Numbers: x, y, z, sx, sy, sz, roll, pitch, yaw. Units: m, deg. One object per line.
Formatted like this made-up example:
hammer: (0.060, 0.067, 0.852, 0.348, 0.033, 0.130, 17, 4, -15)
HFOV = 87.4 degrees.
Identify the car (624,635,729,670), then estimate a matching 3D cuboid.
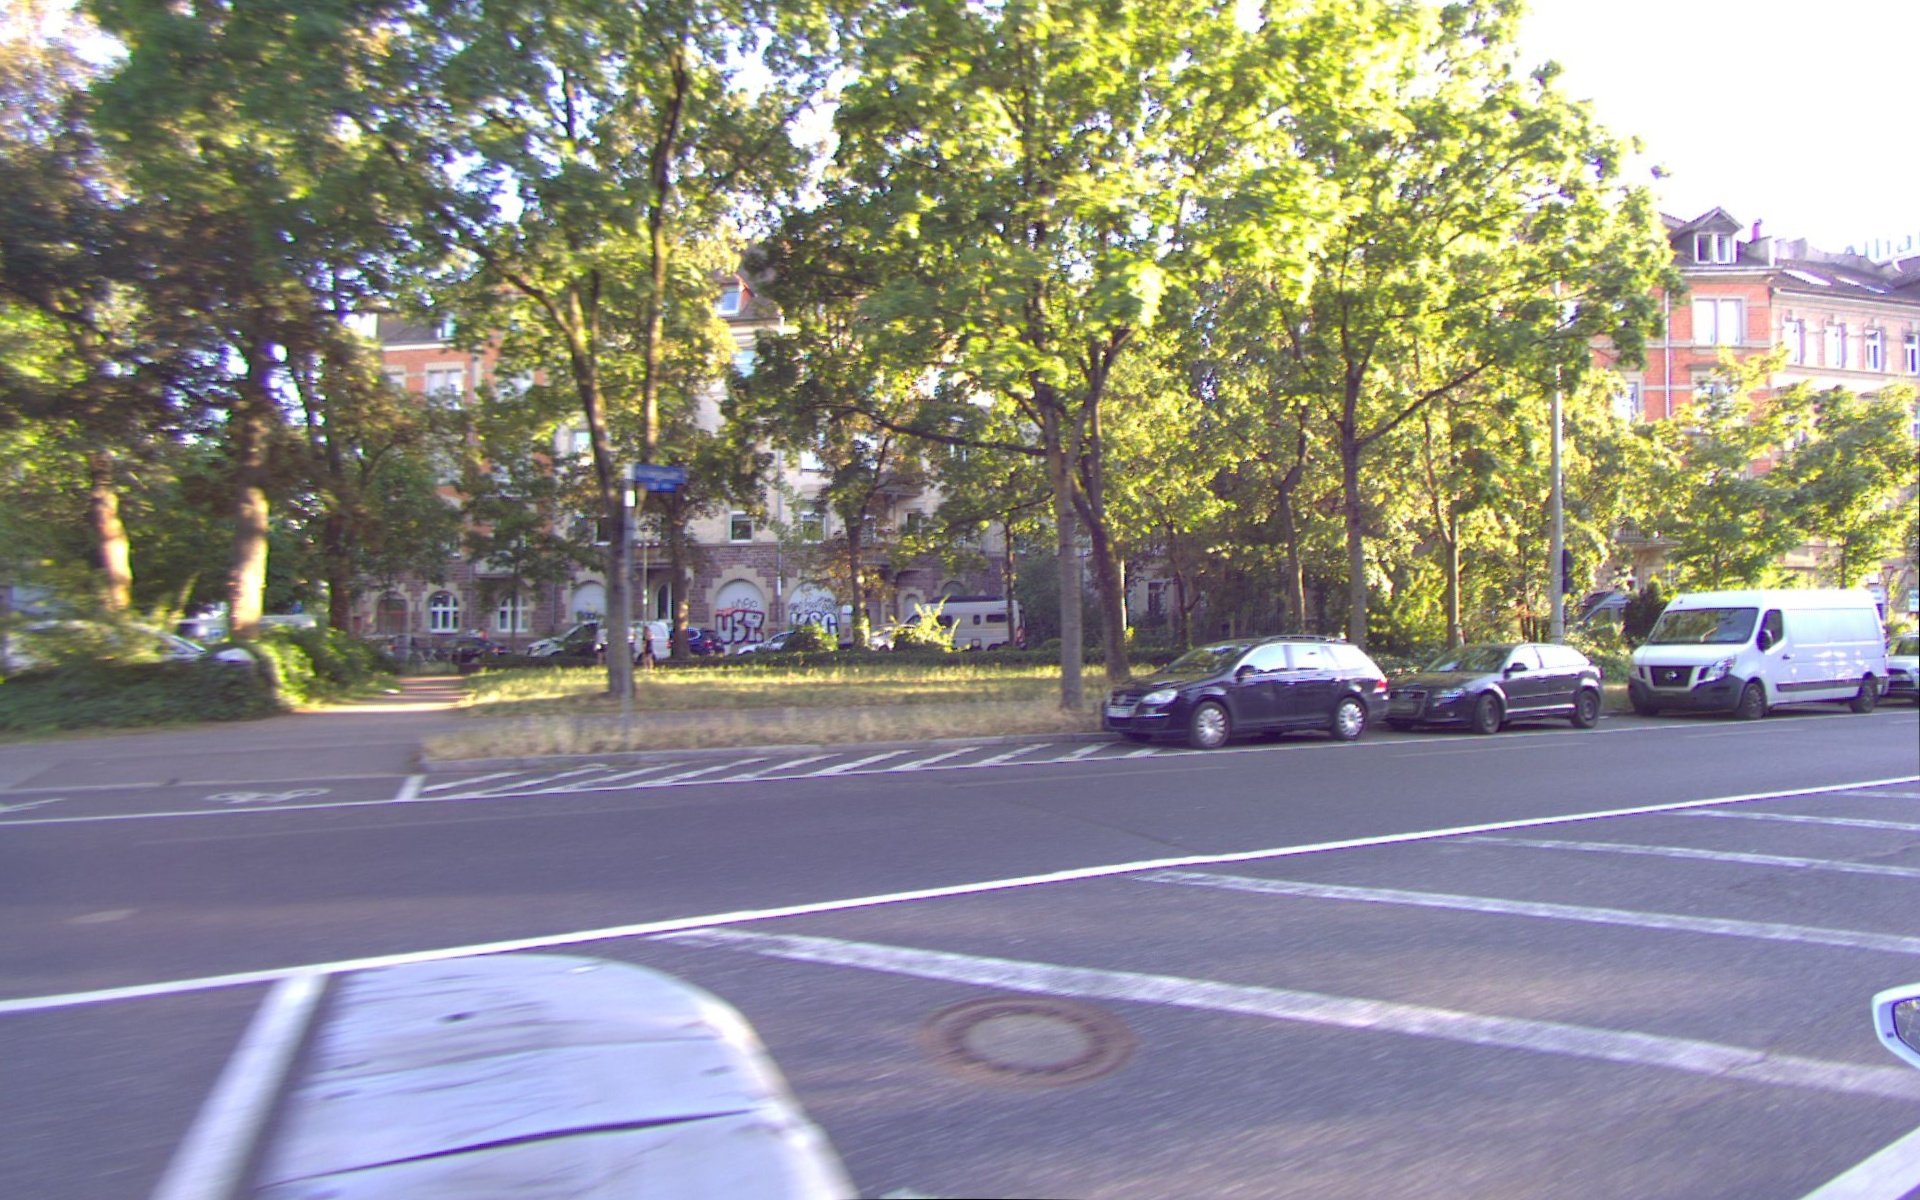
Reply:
car: (-12.138, 2.224, 43.136, 3.919, 1.416, 1.896, 0, -1, 8)

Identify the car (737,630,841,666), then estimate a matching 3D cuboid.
car: (-7.182, 2.004, 42.372, 3.919, 1.416, 1.896, 0, -1, 8)

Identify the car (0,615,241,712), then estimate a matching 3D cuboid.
car: (-18.415, 1.334, 22.161, 3.954, 1.907, 1.984, 1, 0, -31)

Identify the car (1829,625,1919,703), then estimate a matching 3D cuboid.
car: (22.335, 1.448, 23.191, 4.512, 1.666, 1.859, 1, -2, -27)

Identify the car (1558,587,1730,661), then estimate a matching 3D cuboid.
car: (26.496, 0.943, 39.059, 5.205, 2.775, 2.127, 0, -2, -1)

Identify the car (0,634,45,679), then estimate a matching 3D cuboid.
car: (-35.748, 2.006, 35.984, 3.992, 1.550, 1.894, 1, -1, -28)

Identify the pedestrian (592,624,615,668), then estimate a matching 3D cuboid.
pedestrian: (-11.381, 1.463, 32.046, 0.547, 1.414, 0.458, 0, -1, 4)

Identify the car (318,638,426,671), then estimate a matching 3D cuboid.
car: (-26.888, 2.473, 46.028, 3.919, 1.416, 1.896, 0, -1, 8)

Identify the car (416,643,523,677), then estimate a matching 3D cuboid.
car: (-21.972, 2.661, 45.071, 3.919, 1.416, 1.896, 0, -1, 8)

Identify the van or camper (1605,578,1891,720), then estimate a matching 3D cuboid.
van or camper: (15.854, 0.956, 20.127, 6.224, 2.500, 2.083, 1, -2, -27)

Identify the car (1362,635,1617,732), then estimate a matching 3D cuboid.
car: (8.780, 1.306, 16.613, 4.188, 1.448, 1.623, 1, -3, -27)

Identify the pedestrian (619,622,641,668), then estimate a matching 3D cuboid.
pedestrian: (-10.253, 1.397, 31.207, 0.553, 1.414, 0.454, 1, -1, -33)

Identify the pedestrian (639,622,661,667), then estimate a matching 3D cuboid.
pedestrian: (-9.686, 1.388, 31.414, 0.553, 1.414, 0.454, 1, -1, -33)

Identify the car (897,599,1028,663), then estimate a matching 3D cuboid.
car: (0.160, 1.249, 41.234, 5.128, 2.518, 2.275, 0, -1, 8)

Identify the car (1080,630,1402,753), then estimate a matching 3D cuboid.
car: (4.013, 1.203, 14.201, 4.484, 1.526, 1.618, 1, -2, -26)
